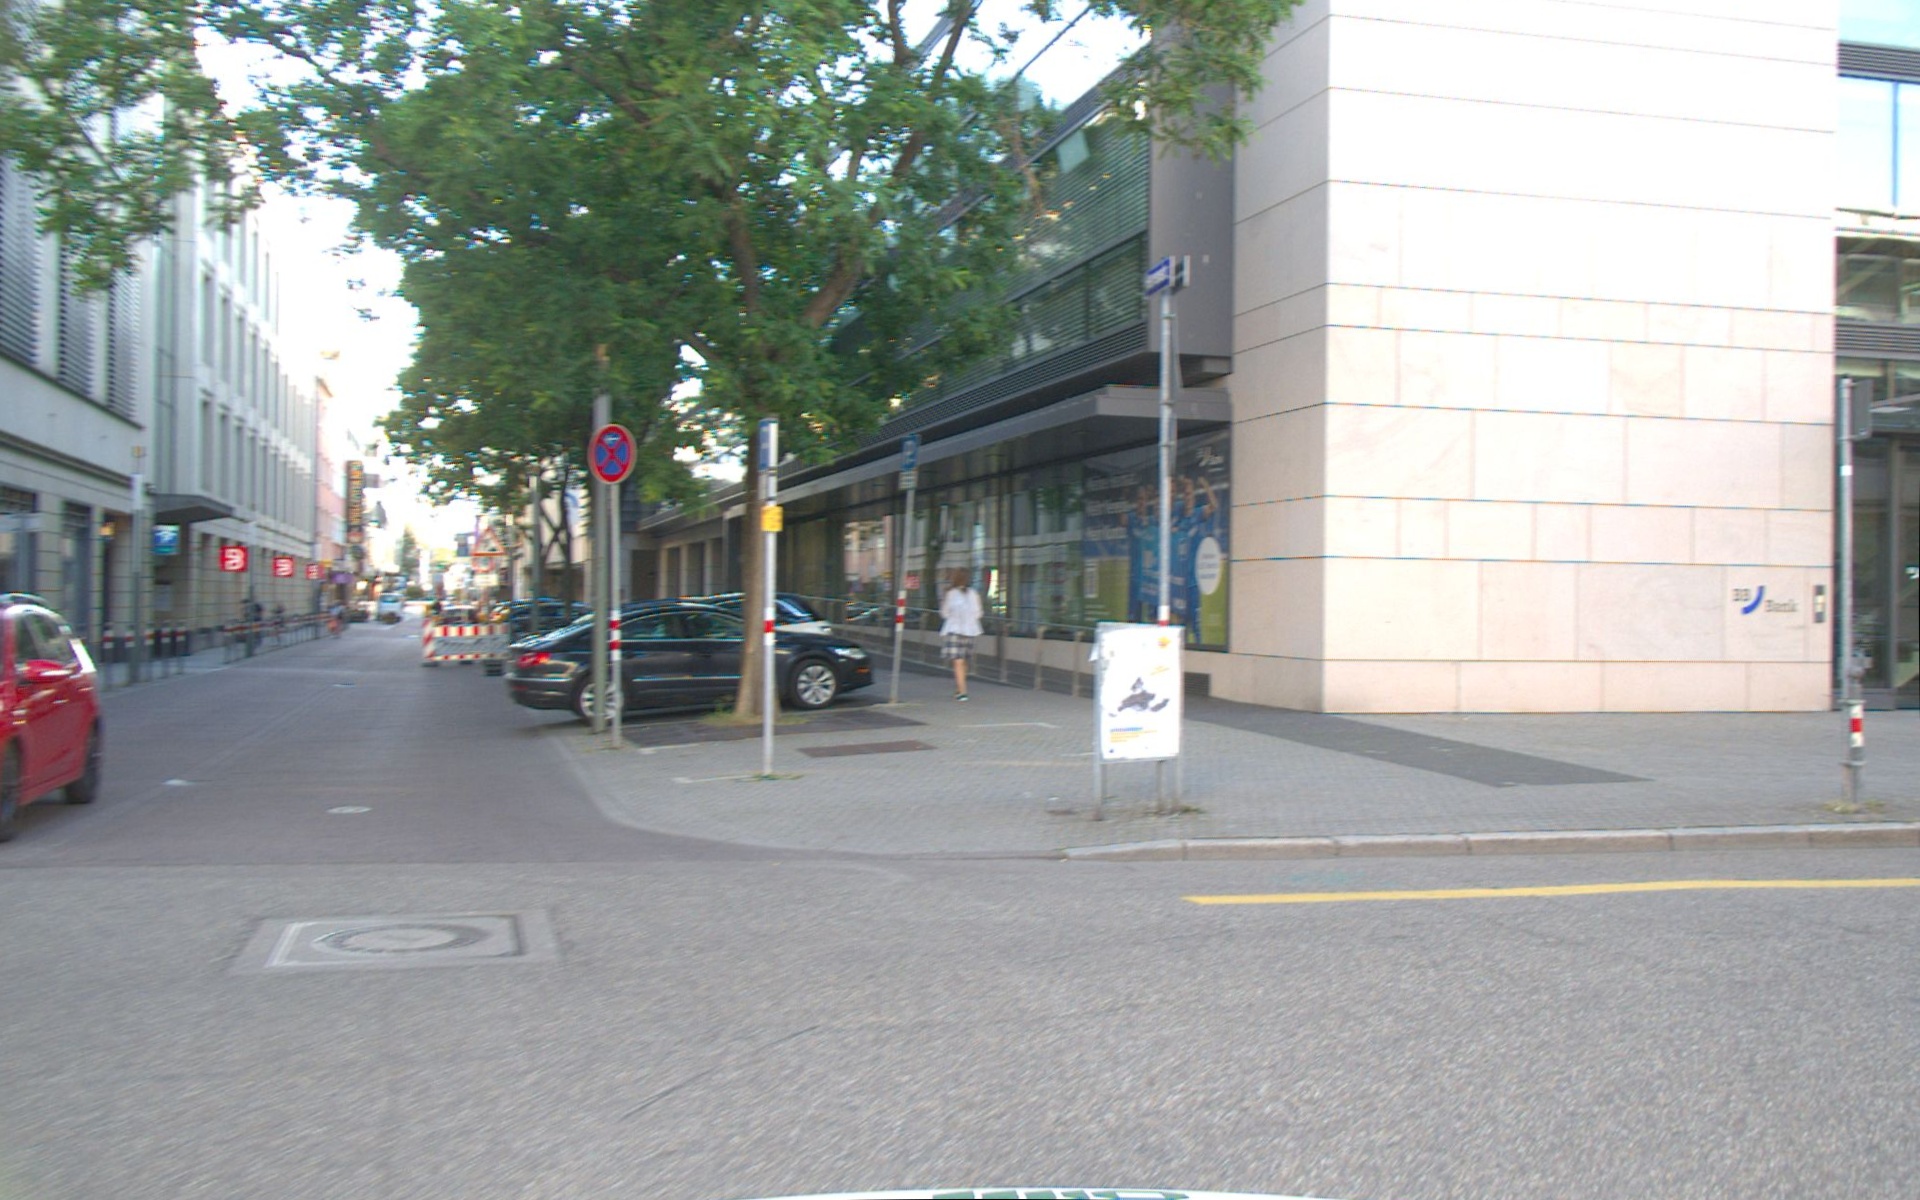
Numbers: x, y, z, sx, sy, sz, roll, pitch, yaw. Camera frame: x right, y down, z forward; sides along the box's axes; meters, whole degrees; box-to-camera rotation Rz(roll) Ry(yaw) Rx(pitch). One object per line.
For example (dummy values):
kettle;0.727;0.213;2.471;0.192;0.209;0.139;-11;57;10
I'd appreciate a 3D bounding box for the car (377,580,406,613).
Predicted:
car;-43.357;-0.301;126.253;1.964;2.369;4.993;2;0;-19

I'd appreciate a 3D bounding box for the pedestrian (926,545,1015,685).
pedestrian;0.127;0.183;21.286;0.890;1.735;0.831;-2;0;-16

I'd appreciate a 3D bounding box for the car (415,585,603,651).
car;-12.683;0.487;46.485;4.931;1.525;1.989;-3;1;-20

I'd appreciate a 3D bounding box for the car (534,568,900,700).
car;-3.534;0.440;23.975;4.931;1.525;1.989;-3;1;-20

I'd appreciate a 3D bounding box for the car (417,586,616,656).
car;-11.834;0.543;44.097;4.931;1.525;1.989;-3;1;-20

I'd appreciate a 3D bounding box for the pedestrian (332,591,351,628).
pedestrian;-27.484;0.419;73.487;0.720;1.601;0.633;1;-1;-17

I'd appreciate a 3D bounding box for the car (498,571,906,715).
car;-3.370;0.502;21.506;4.931;1.477;1.989;-3;1;-20

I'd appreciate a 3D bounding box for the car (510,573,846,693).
car;-4.463;0.479;26.134;4.931;1.525;1.989;-3;1;-20

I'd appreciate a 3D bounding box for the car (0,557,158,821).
car;-6.769;0.543;10.956;1.792;1.491;4.246;1;-2;-15

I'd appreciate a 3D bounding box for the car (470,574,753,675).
car;-6.545;0.426;30.990;4.931;1.525;1.989;-3;1;-20
